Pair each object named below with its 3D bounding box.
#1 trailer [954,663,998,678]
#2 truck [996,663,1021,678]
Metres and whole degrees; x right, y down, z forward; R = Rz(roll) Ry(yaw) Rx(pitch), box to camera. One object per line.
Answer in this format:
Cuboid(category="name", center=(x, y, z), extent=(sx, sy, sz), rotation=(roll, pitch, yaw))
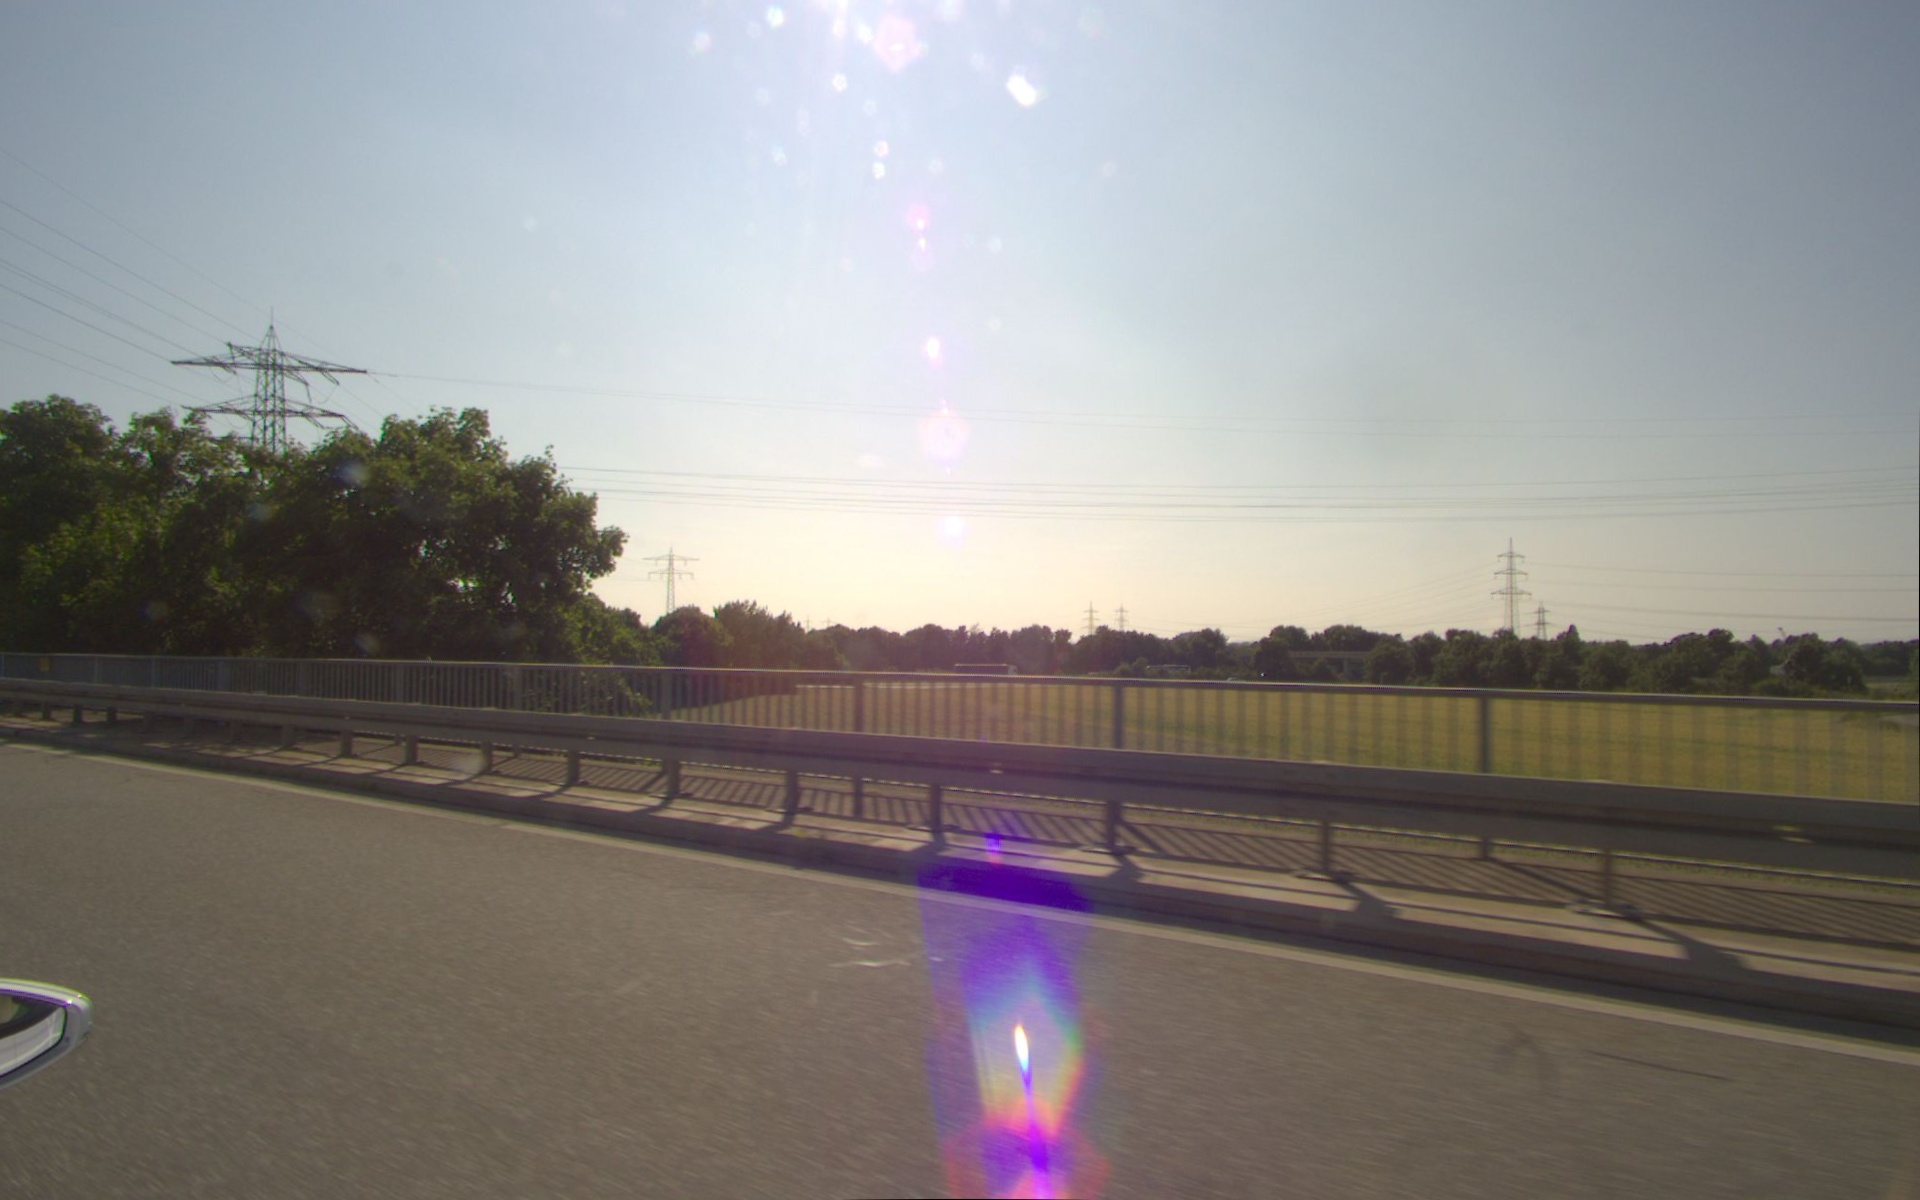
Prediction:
Cuboid(category="trailer", center=(3.961, 17.919, 254.666), extent=(10.875, 3.767, 3.159), rotation=(0, -1, -6))
Cuboid(category="truck", center=(12.286, 17.924, 255.410), extent=(6.000, 3.767, 2.855), rotation=(0, -1, -7))
